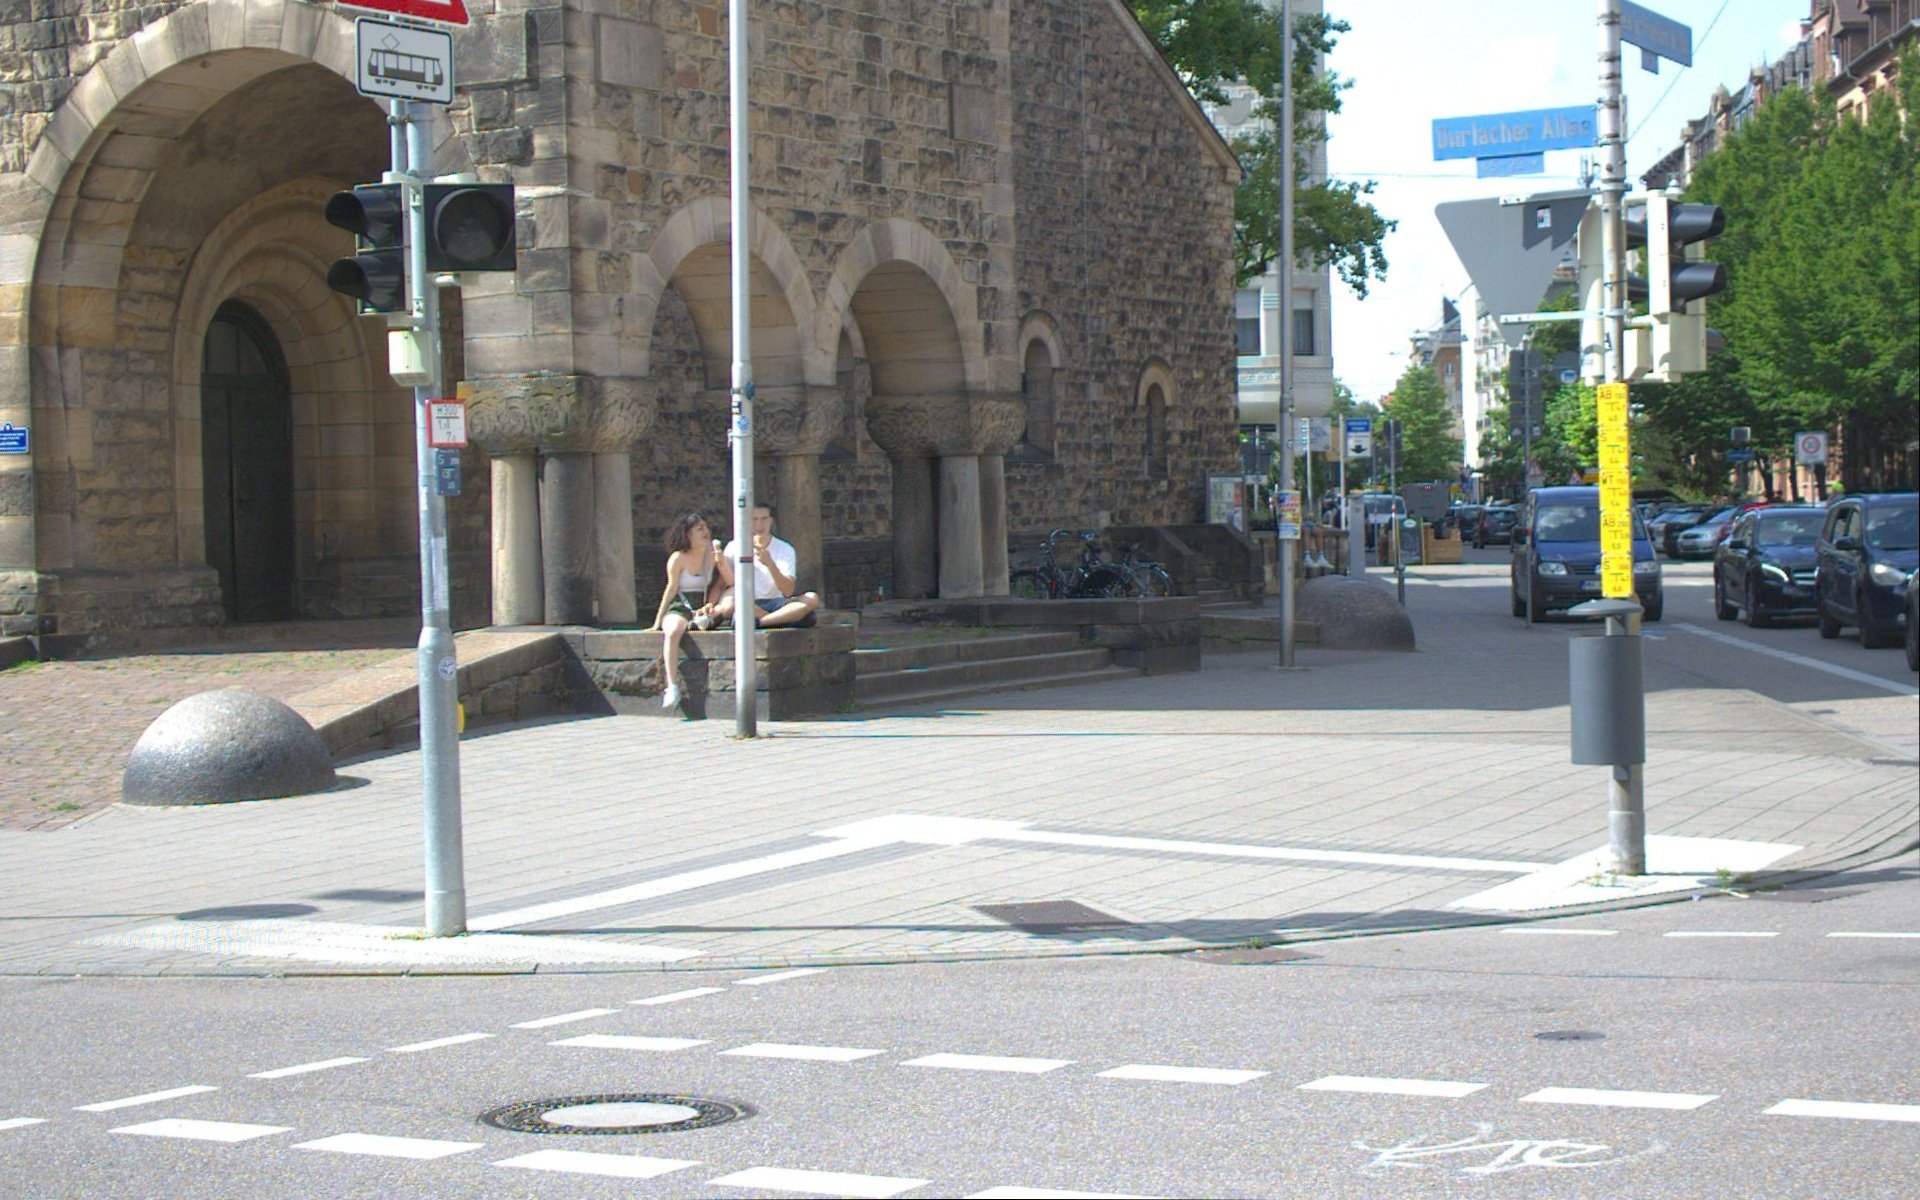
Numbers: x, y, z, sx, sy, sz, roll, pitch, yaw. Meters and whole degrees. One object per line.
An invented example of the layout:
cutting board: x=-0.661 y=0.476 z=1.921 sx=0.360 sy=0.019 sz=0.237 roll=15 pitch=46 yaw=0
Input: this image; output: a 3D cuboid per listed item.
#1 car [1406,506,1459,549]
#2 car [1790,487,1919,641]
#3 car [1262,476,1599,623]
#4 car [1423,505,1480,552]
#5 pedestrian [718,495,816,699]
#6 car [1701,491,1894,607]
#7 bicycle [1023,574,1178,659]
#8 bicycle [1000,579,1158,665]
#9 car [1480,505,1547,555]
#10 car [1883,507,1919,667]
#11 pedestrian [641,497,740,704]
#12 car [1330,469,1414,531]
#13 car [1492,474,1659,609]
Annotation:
car: x=20.514 y=-3.168 z=149.402 sx=1.994 sy=1.809 sz=4.000 roll=-1 pitch=2 yaw=5
car: x=10.449 y=-0.448 z=38.104 sx=1.698 sy=1.591 sz=4.072 roll=-1 pitch=2 yaw=3
car: x=5.629 y=-0.609 z=41.551 sx=2.026 sy=1.646 sz=3.972 roll=-2 pitch=2 yaw=-29
car: x=19.899 y=-2.894 z=139.271 sx=1.994 sy=1.809 sz=4.000 roll=-1 pitch=2 yaw=5
pedestrian: x=-1.402 y=-0.029 z=24.975 sx=0.556 sy=1.401 sz=0.518 roll=-4 pitch=8 yaw=-17
car: x=10.671 y=-0.680 z=44.037 sx=1.698 sy=1.386 sz=3.861 roll=-1 pitch=2 yaw=3
bicycle: x=1.254 y=0.152 z=30.762 sx=1.364 sy=0.738 sz=0.338 roll=0 pitch=2 yaw=28
bicycle: x=1.046 y=0.191 z=30.379 sx=1.364 sy=0.738 sz=0.338 roll=0 pitch=2 yaw=28
car: x=18.063 y=-2.301 z=112.307 sx=1.784 sy=1.546 sz=4.000 roll=-1 pitch=2 yaw=5
car: x=9.574 y=-0.119 z=30.978 sx=1.669 sy=1.445 sz=3.736 roll=-1 pitch=2 yaw=3
pedestrian: x=-1.944 y=-0.003 z=24.809 sx=0.556 sy=1.401 sz=0.518 roll=-4 pitch=8 yaw=-17
car: x=9.344 y=-2.279 z=77.808 sx=1.639 sy=1.320 sz=3.742 roll=-1 pitch=2 yaw=10
car: x=8.412 y=-0.838 z=47.282 sx=1.809 sy=1.658 sz=4.073 roll=-2 pitch=3 yaw=5
